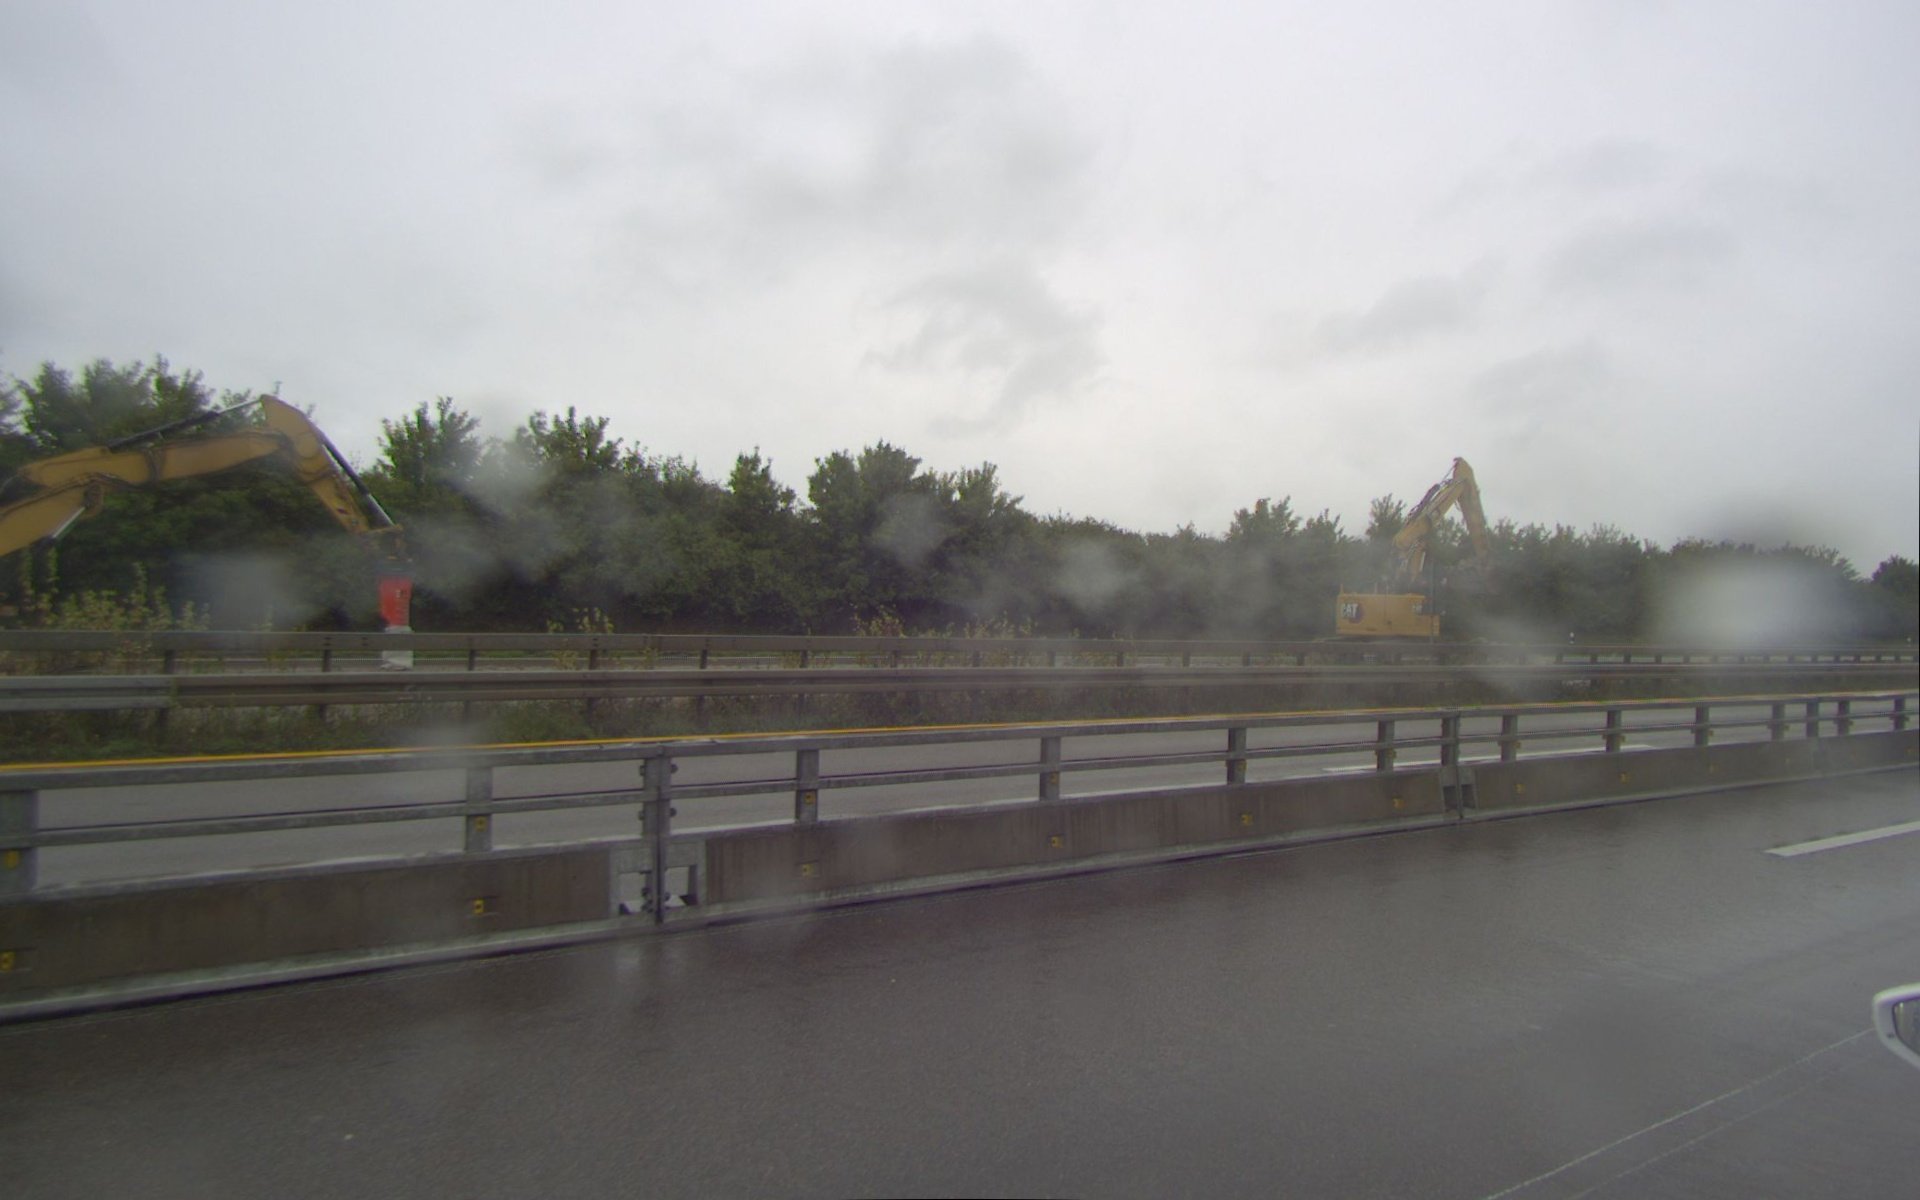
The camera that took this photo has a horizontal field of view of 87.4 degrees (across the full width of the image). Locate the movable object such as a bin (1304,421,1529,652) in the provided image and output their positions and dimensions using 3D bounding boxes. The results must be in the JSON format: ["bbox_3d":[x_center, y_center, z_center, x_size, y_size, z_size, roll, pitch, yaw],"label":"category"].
[{"bbox_3d":[18.122,-2.234,39.797,8.202,8.252,3.583,2,0,-27],"label":"movable object such as a bin"}]

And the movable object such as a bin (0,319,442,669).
[{"bbox_3d":[-16.434,-1.829,19.687,10.904,5.993,4.155,2,0,-27],"label":"movable object such as a bin"}]
